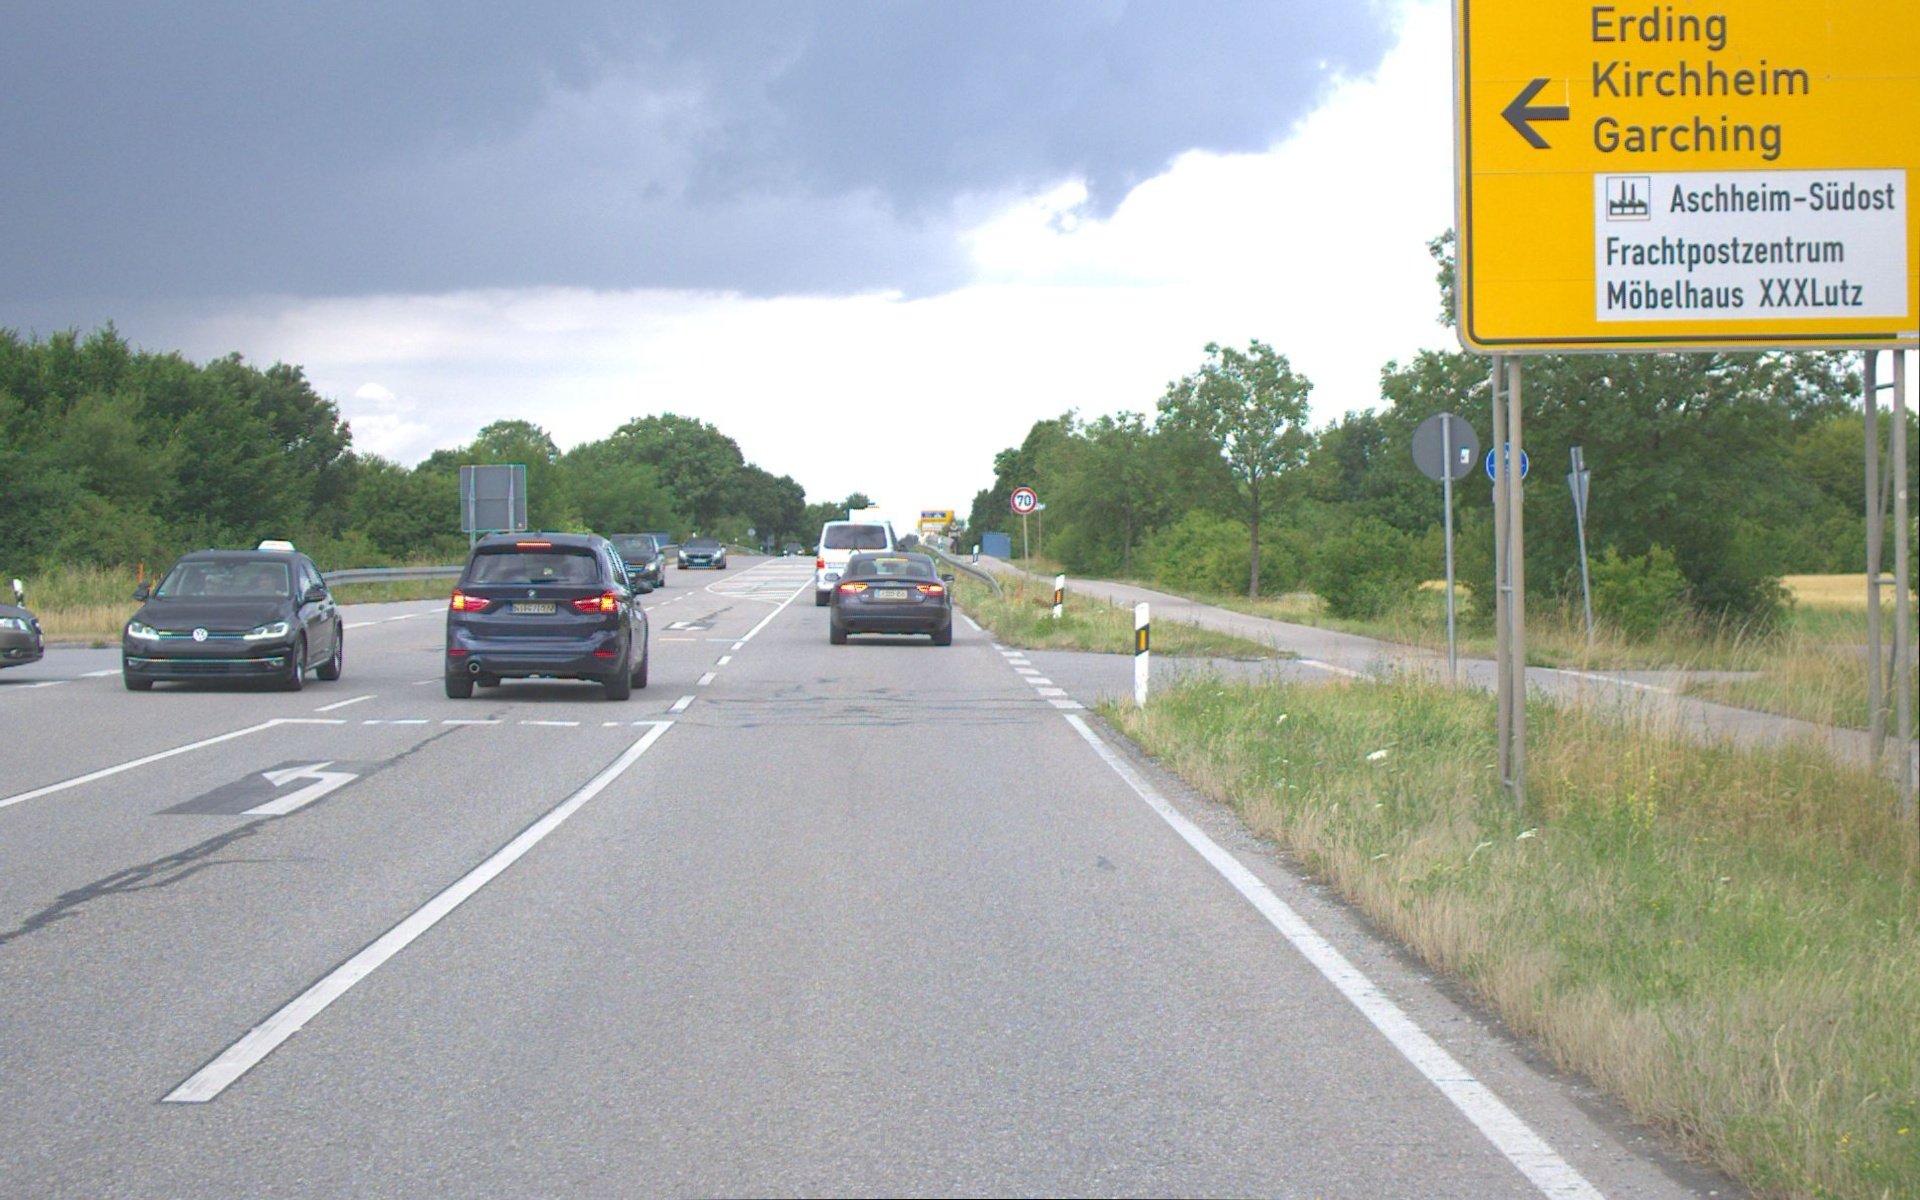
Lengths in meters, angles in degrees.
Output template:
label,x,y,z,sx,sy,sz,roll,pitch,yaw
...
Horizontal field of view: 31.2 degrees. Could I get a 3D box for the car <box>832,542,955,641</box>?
label,x,y,z,sx,sy,sz,roll,pitch,yaw
car,-1.024,-0.156,52.334,1.785,1.419,4.000,1,1,-1

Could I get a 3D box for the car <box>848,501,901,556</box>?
label,x,y,z,sx,sy,sz,roll,pitch,yaw
car,-4.005,-3.375,162.047,2.447,2.495,5.042,1,1,-1

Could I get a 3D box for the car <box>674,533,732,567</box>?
label,x,y,z,sx,sy,sz,roll,pitch,yaw
car,-10.606,-2.065,141.972,2.164,1.280,4.238,2,1,-2

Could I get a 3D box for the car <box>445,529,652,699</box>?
label,x,y,z,sx,sy,sz,roll,pitch,yaw
car,-4.098,0.095,34.786,1.702,1.605,4.483,0,1,-2

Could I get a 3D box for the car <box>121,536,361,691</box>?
label,x,y,z,sx,sy,sz,roll,pitch,yaw
car,-7.513,0.101,36.303,1.679,1.516,4.396,1,1,-1

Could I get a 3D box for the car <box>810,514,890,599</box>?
label,x,y,z,sx,sy,sz,roll,pitch,yaw
car,-2.547,-1.010,79.868,1.785,1.883,4.000,1,1,-1

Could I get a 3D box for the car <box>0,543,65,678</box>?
label,x,y,z,sx,sy,sz,roll,pitch,yaw
car,-12.014,0.128,36.925,4.449,1.419,1.912,-1,1,-9

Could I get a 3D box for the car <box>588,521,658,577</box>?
label,x,y,z,sx,sy,sz,roll,pitch,yaw
car,-9.808,-1.503,100.300,1.742,1.525,4.199,1,2,-2
